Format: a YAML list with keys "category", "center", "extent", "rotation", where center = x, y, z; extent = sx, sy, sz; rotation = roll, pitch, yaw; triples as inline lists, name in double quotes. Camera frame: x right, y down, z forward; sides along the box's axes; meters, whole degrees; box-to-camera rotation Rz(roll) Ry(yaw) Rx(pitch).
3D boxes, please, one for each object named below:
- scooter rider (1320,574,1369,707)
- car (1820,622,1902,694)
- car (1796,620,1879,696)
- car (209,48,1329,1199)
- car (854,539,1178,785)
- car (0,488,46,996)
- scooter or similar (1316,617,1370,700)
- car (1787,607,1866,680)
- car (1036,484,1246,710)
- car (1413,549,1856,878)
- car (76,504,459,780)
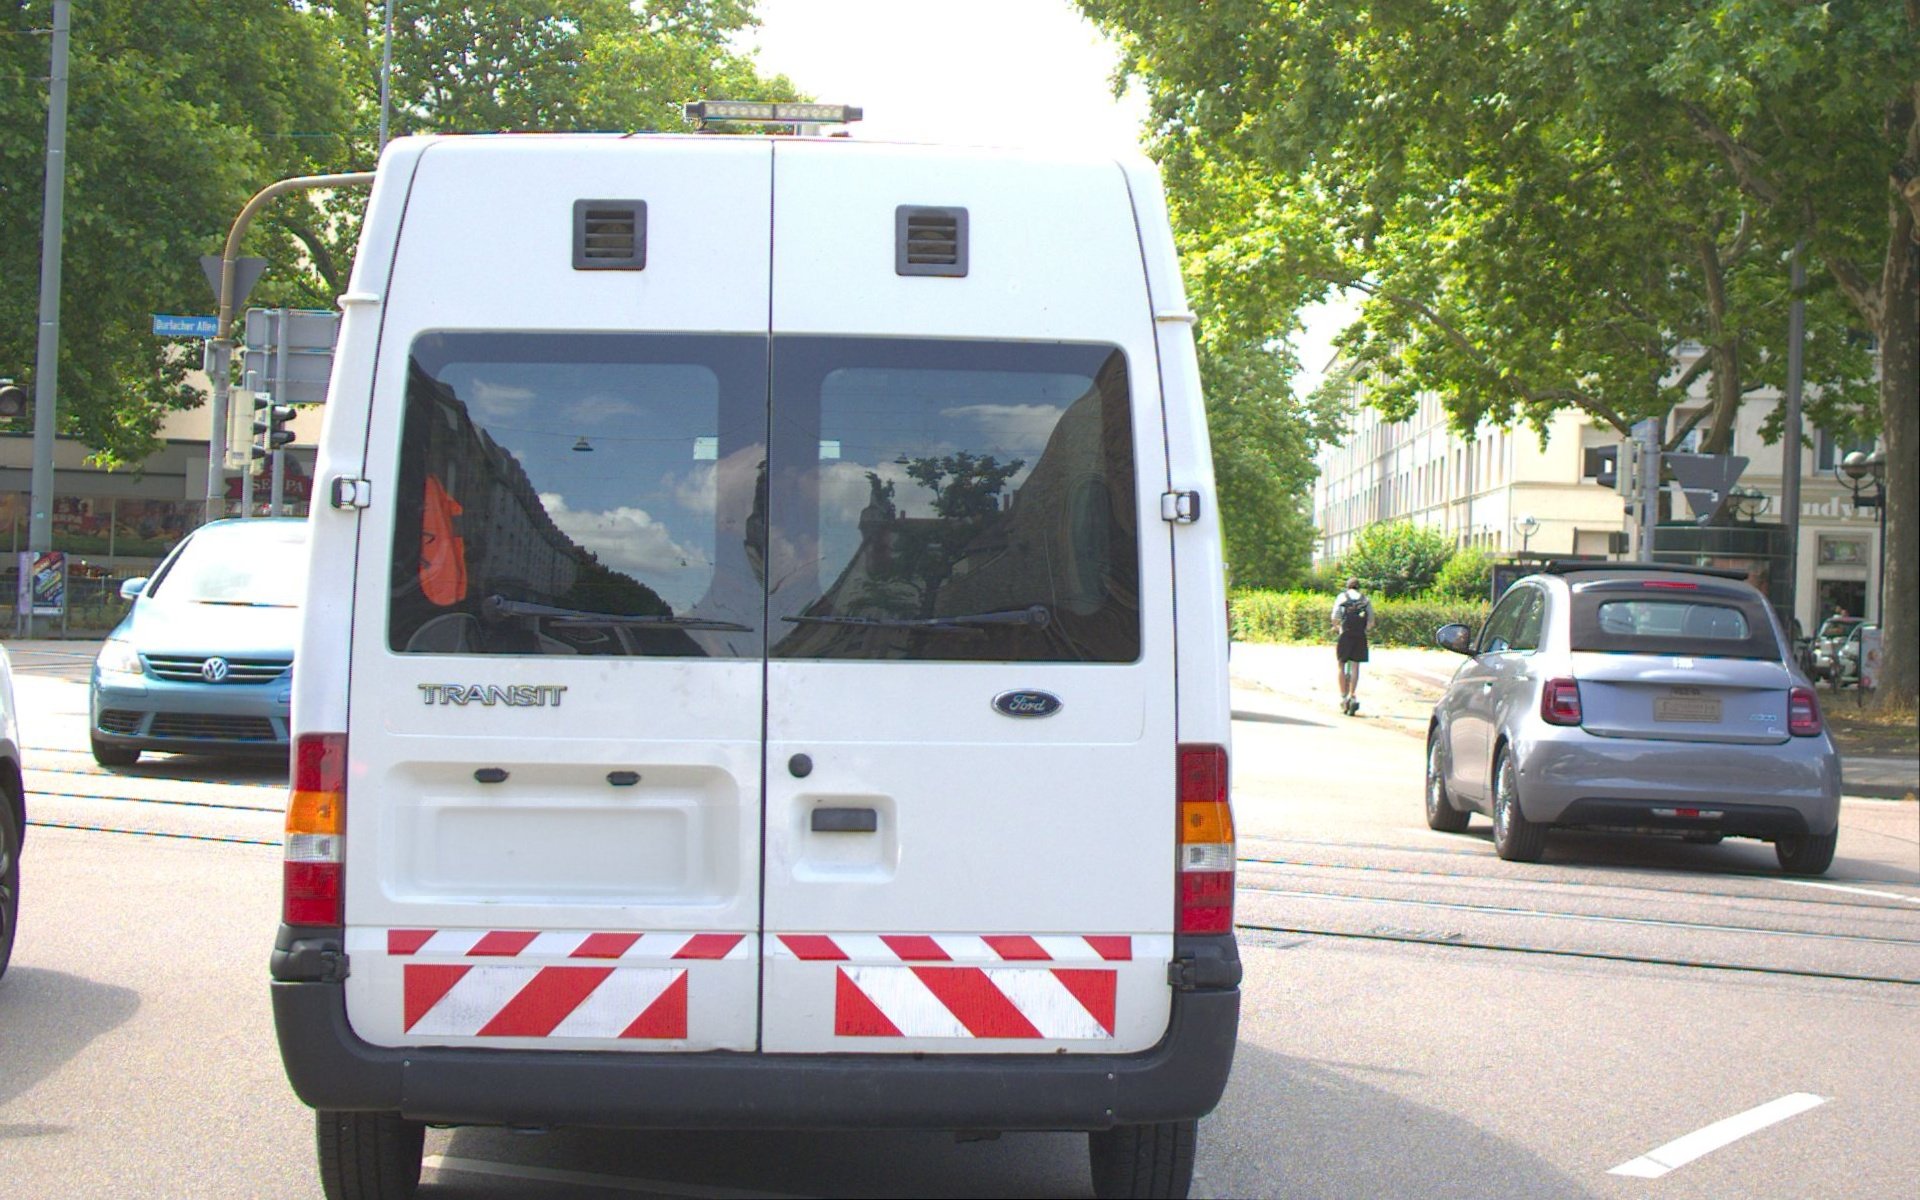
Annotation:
- category: "scooter rider"
  center: [5.321, 0.554, 47.628]
  extent: [0.526, 1.806, 0.649]
  rotation: [2, 0, -1]
- category: "car"
  center: [18.565, 1.174, 70.779]
  extent: [1.466, 1.384, 3.233]
  rotation: [3, 0, 17]
- category: "car"
  center: [17.130, 1.117, 67.066]
  extent: [1.466, 1.384, 3.065]
  rotation: [3, 0, 15]
- category: "car"
  center: [-0.495, 0.114, 8.884]
  extent: [2.047, 2.325, 4.715]
  rotation: [2, 1, -3]
- category: "car"
  center: [0.295, 0.361, 23.854]
  extent: [1.814, 1.501, 4.132]
  rotation: [2, 1, -5]
- category: "car"
  center: [-3.796, 0.458, 9.139]
  extent: [1.770, 1.577, 4.021]
  rotation: [1, 1, -2]
- category: "scooter or similar"
  center: [5.308, 0.805, 47.659]
  extent: [0.549, 1.088, 1.292]
  rotation: [2, 1, -1]
- category: "car"
  center: [20.704, 1.038, 82.056]
  extent: [1.467, 1.660, 3.064]
  rotation: [2, 0, 20]
- category: "car"
  center: [2.242, -0.082, 44.409]
  extent: [2.119, 2.632, 6.329]
  rotation: [2, 1, -2]
- category: "car"
  center: [3.511, 0.527, 18.482]
  extent: [1.692, 1.532, 3.468]
  rotation: [2, 1, 1]
- category: "car"
  center: [-4.269, 0.215, 21.743]
  extent: [1.747, 1.535, 3.932]
  rotation: [2, 1, -3]
